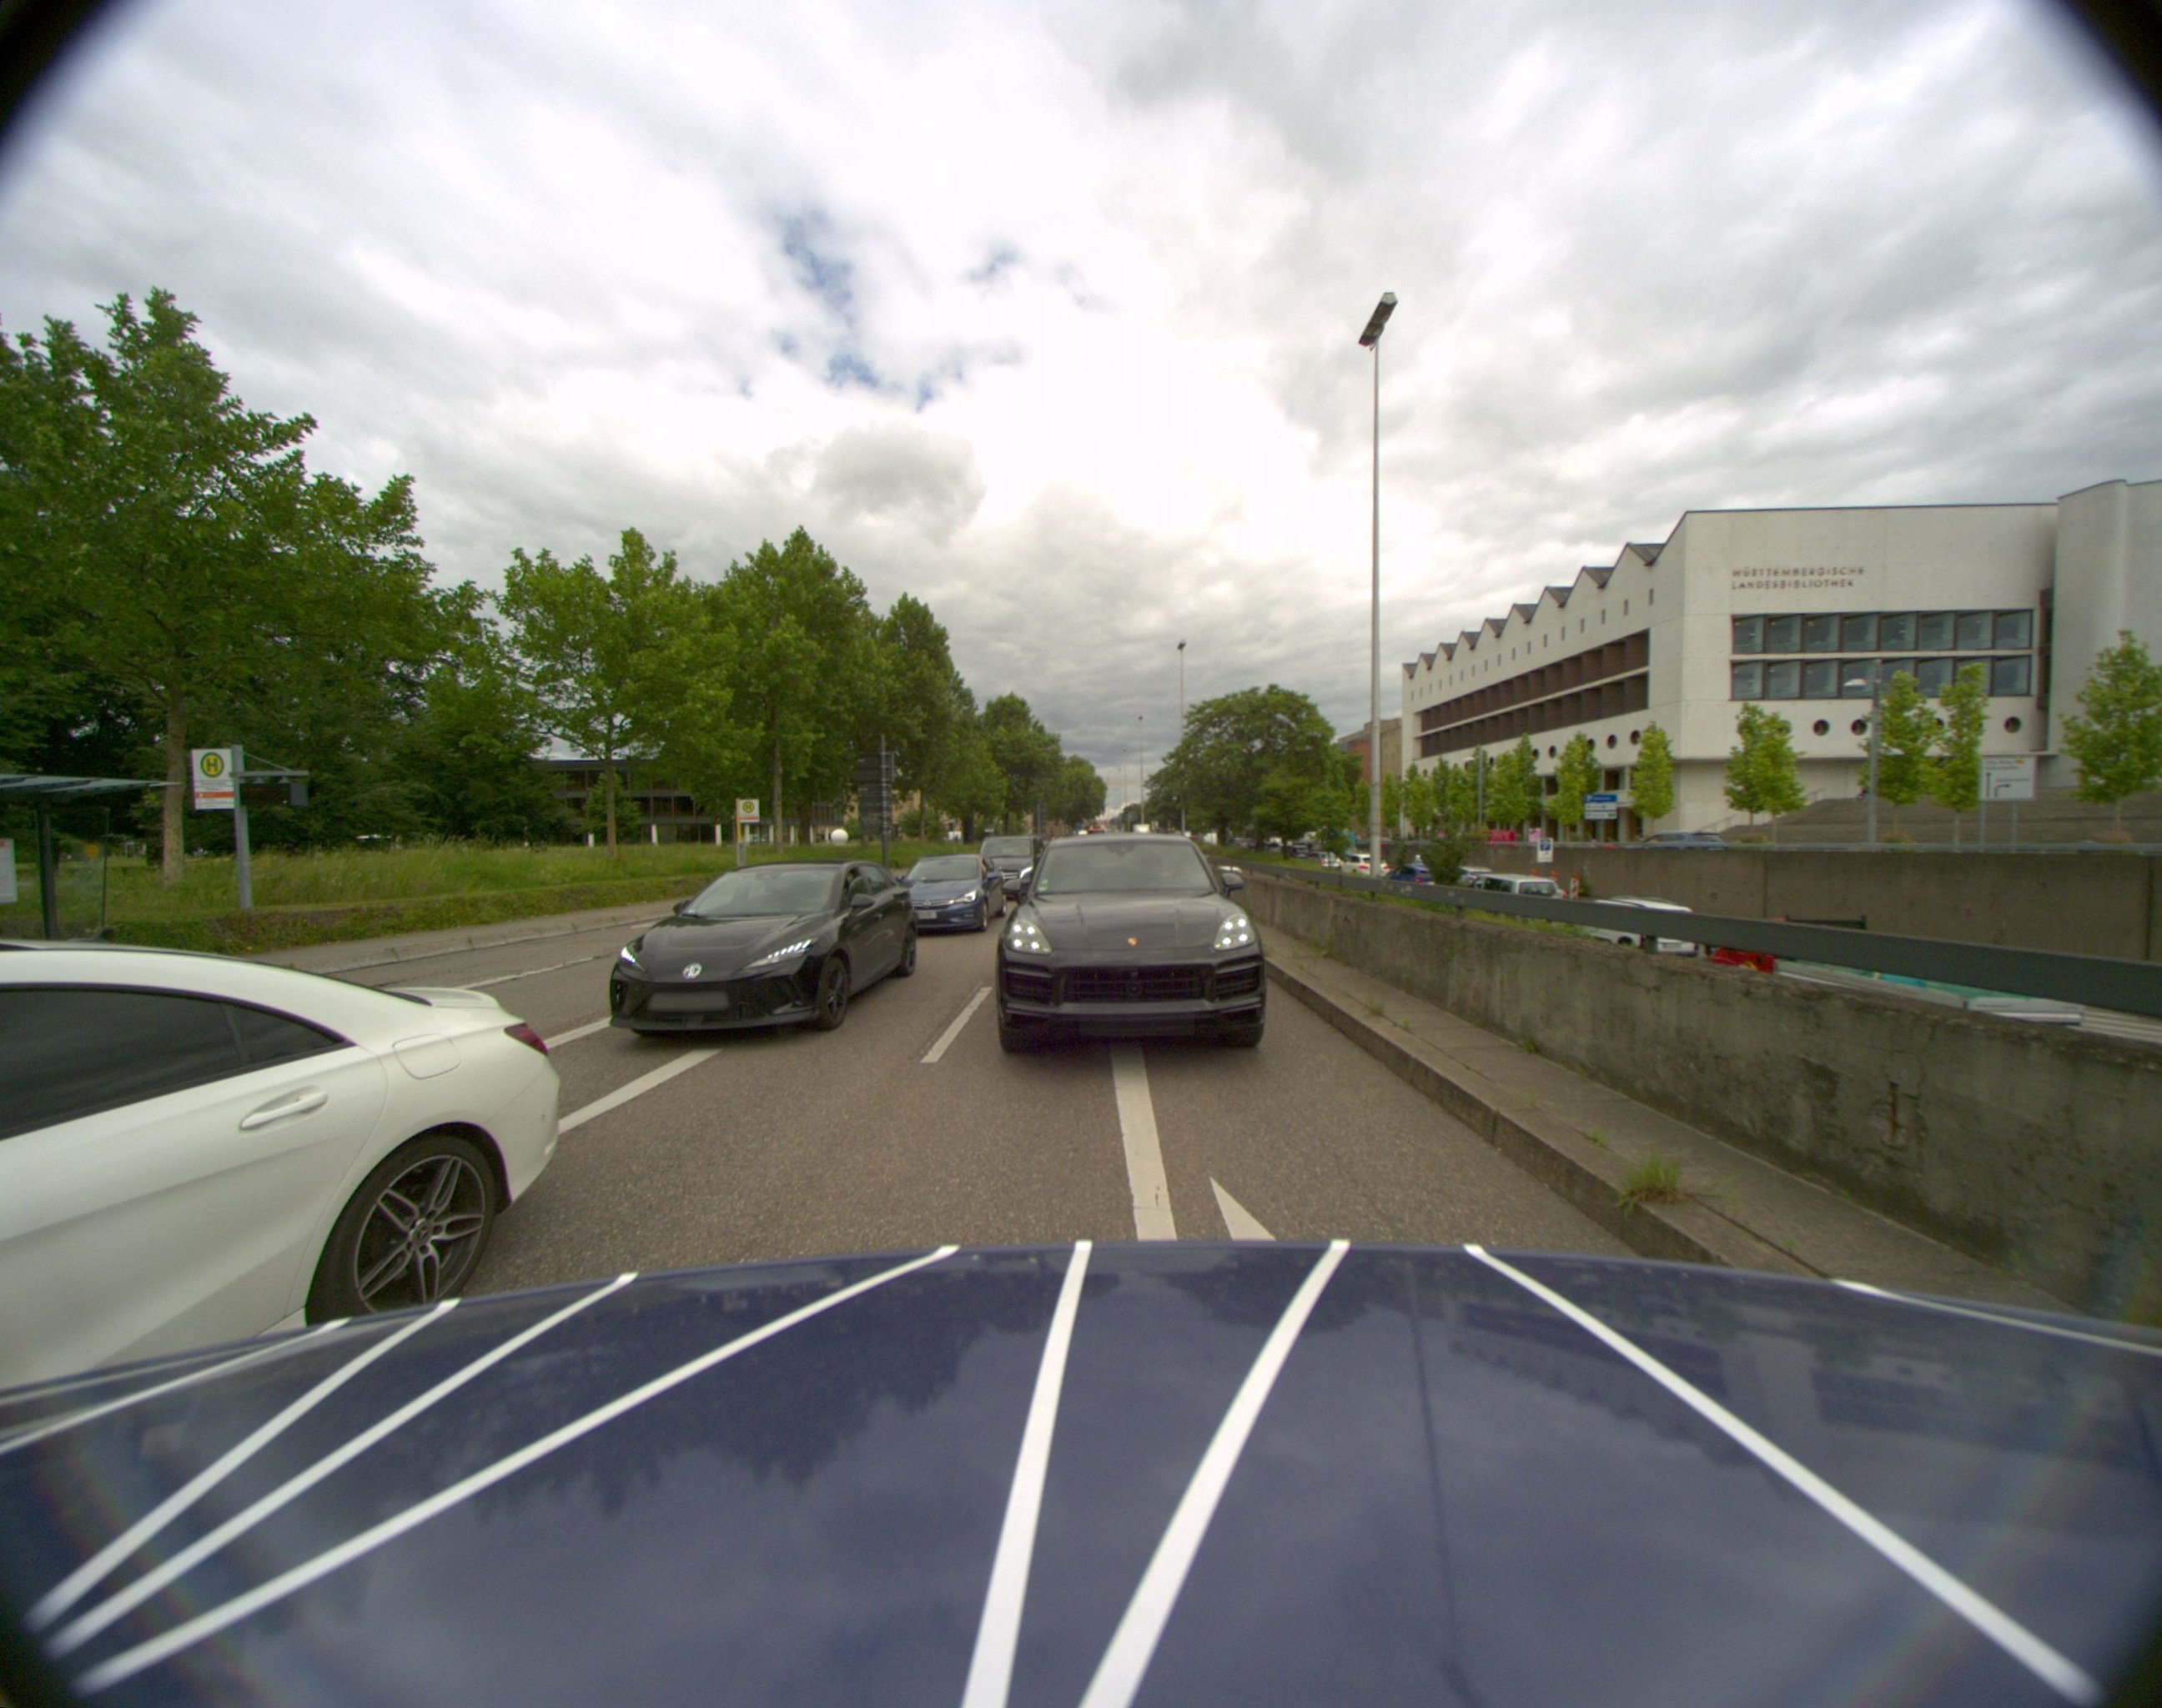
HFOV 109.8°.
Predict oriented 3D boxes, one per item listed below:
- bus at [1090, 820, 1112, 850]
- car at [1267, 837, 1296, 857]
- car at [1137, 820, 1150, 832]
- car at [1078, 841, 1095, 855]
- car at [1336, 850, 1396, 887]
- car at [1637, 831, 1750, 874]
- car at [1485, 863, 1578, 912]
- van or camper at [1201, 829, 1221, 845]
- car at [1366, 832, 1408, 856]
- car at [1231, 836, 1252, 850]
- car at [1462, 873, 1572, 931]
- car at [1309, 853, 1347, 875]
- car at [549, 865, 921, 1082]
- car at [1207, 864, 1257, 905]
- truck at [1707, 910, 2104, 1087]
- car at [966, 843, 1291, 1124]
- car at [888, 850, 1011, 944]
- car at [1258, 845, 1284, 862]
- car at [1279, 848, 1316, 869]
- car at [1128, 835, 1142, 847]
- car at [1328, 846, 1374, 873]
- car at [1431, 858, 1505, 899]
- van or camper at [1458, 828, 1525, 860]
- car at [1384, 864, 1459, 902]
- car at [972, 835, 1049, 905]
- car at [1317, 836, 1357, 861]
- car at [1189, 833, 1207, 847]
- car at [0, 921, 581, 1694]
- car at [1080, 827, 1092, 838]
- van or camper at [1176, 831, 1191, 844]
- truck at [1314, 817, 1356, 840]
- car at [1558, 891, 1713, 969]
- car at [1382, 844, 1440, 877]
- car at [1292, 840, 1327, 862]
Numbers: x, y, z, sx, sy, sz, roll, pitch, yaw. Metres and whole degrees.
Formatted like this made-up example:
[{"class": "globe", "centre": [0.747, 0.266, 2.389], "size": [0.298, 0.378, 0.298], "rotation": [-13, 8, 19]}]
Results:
[{"class": "bus", "centre": [3.047, -2.909, 118.335], "size": [3.043, 4.328, 8.748], "rotation": [-2, 1, 0]}, {"class": "car", "centre": [21.538, -0.727, 81.757], "size": [1.998, 2.002, 4.000], "rotation": [2, 1, 1]}, {"class": "car", "centre": [11.707, -5.283, 142.985], "size": [1.997, 2.002, 4.002], "rotation": [-2, 1, 9]}, {"class": "car", "centre": [0.580, -0.618, 77.352], "size": [1.565, 1.409, 3.619], "rotation": [-2, 1, 1]}, {"class": "car", "centre": [17.947, 0.861, 48.078], "size": [1.998, 2.119, 4.851], "rotation": [2, 1, 1]}, {"class": "car", "centre": [28.045, -0.061, 34.964], "size": [1.998, 1.805, 4.000], "rotation": [-1, 0, 1]}, {"class": "car", "centre": [21.085, 1.519, 35.754], "size": [1.998, 2.002, 4.000], "rotation": [2, 1, 1]}, {"class": "van or camper", "centre": [17.218, -2.244, 100.948], "size": [2.036, 2.002, 4.000], "rotation": [-2, 1, 1]}, {"class": "car", "centre": [27.218, -0.887, 67.713], "size": [1.999, 2.002, 3.999], "rotation": [-2, 1, -1]}, {"class": "car", "centre": [17.840, -1.233, 84.481], "size": [1.675, 1.477, 3.361], "rotation": [-2, 1, 1]}, {"class": "car", "centre": [17.752, 1.892, 31.187], "size": [1.998, 2.002, 4.332], "rotation": [2, 1, 1]}, {"class": "car", "centre": [17.855, 0.696, 55.103], "size": [1.675, 1.477, 3.361], "rotation": [-1, 1, 1]}, {"class": "car", "centre": [-3.064, 0.940, 7.832], "size": [1.829, 1.515, 4.119], "rotation": [-2, 0, 1]}, {"class": "car", "centre": [8.484, 1.690, 42.948], "size": [1.998, 2.002, 3.999], "rotation": [-2, 1, 1]}, {"class": "truck", "centre": [17.377, 2.842, 16.732], "size": [2.324, 2.675, 5.978], "rotation": [-2, 1, 2]}, {"class": "car", "centre": [0.330, 0.781, 6.986], "size": [1.937, 1.668, 4.679], "rotation": [-2, 0, 1]}, {"class": "car", "centre": [-2.453, 0.732, 15.101], "size": [1.573, 1.528, 4.001], "rotation": [-2, 1, 2]}, {"class": "car", "centre": [17.753, -0.086, 71.166], "size": [1.675, 1.477, 3.361], "rotation": [-2, 1, 1]}, {"class": "car", "centre": [17.837, 0.340, 62.797], "size": [1.998, 1.650, 4.000], "rotation": [-2, 1, 1]}, {"class": "car", "centre": [9.018, -2.170, 126.952], "size": [1.998, 2.002, 4.000], "rotation": [-1, 0, 1]}, {"class": "car", "centre": [21.364, 0.381, 60.374], "size": [1.998, 2.002, 4.655], "rotation": [-2, 1, 1]}, {"class": "car", "centre": [21.229, 1.296, 41.835], "size": [1.998, 2.002, 4.000], "rotation": [2, 1, 1]}, {"class": "van or camper", "centre": [27.534, -0.655, 51.131], "size": [1.999, 2.002, 4.556], "rotation": [-1, 0, -1]}, {"class": "car", "centre": [17.799, 1.466, 39.963], "size": [1.998, 1.733, 4.281], "rotation": [2, 1, 1]}, {"class": "car", "centre": [-2.005, 0.394, 22.756], "size": [1.723, 1.851, 4.430], "rotation": [-2, 1, 1]}, {"class": "car", "centre": [21.652, -0.438, 64.336], "size": [1.998, 2.002, 4.000], "rotation": [2, 1, 1]}, {"class": "car", "centre": [17.633, -2.124, 114.631], "size": [1.998, 2.002, 4.000], "rotation": [-5, 1, 1]}, {"class": "car", "centre": [-3.134, 1.071, 1.091], "size": [1.723, 1.415, 4.505], "rotation": [-2, 1, 1]}, {"class": "car", "centre": [0.928, -4.073, 143.201], "size": [1.999, 2.002, 3.998], "rotation": [-2, 1, -4]}, {"class": "van or camper", "centre": [17.651, -2.809, 130.868], "size": [2.036, 2.002, 4.000], "rotation": [-2, 1, 1]}, {"class": "truck", "centre": [26.673, -2.624, 80.017], "size": [2.002, 2.145, 5.616], "rotation": [-2, 0, -5]}, {"class": "car", "centre": [17.596, 2.351, 24.386], "size": [1.998, 2.002, 4.000], "rotation": [2, 1, 1]}, {"class": "car", "centre": [21.208, 0.386, 49.003], "size": [1.998, 2.002, 4.000], "rotation": [2, 1, 1]}, {"class": "car", "centre": [21.395, -0.278, 71.264], "size": [1.998, 2.002, 4.000], "rotation": [2, 1, 1]}]
